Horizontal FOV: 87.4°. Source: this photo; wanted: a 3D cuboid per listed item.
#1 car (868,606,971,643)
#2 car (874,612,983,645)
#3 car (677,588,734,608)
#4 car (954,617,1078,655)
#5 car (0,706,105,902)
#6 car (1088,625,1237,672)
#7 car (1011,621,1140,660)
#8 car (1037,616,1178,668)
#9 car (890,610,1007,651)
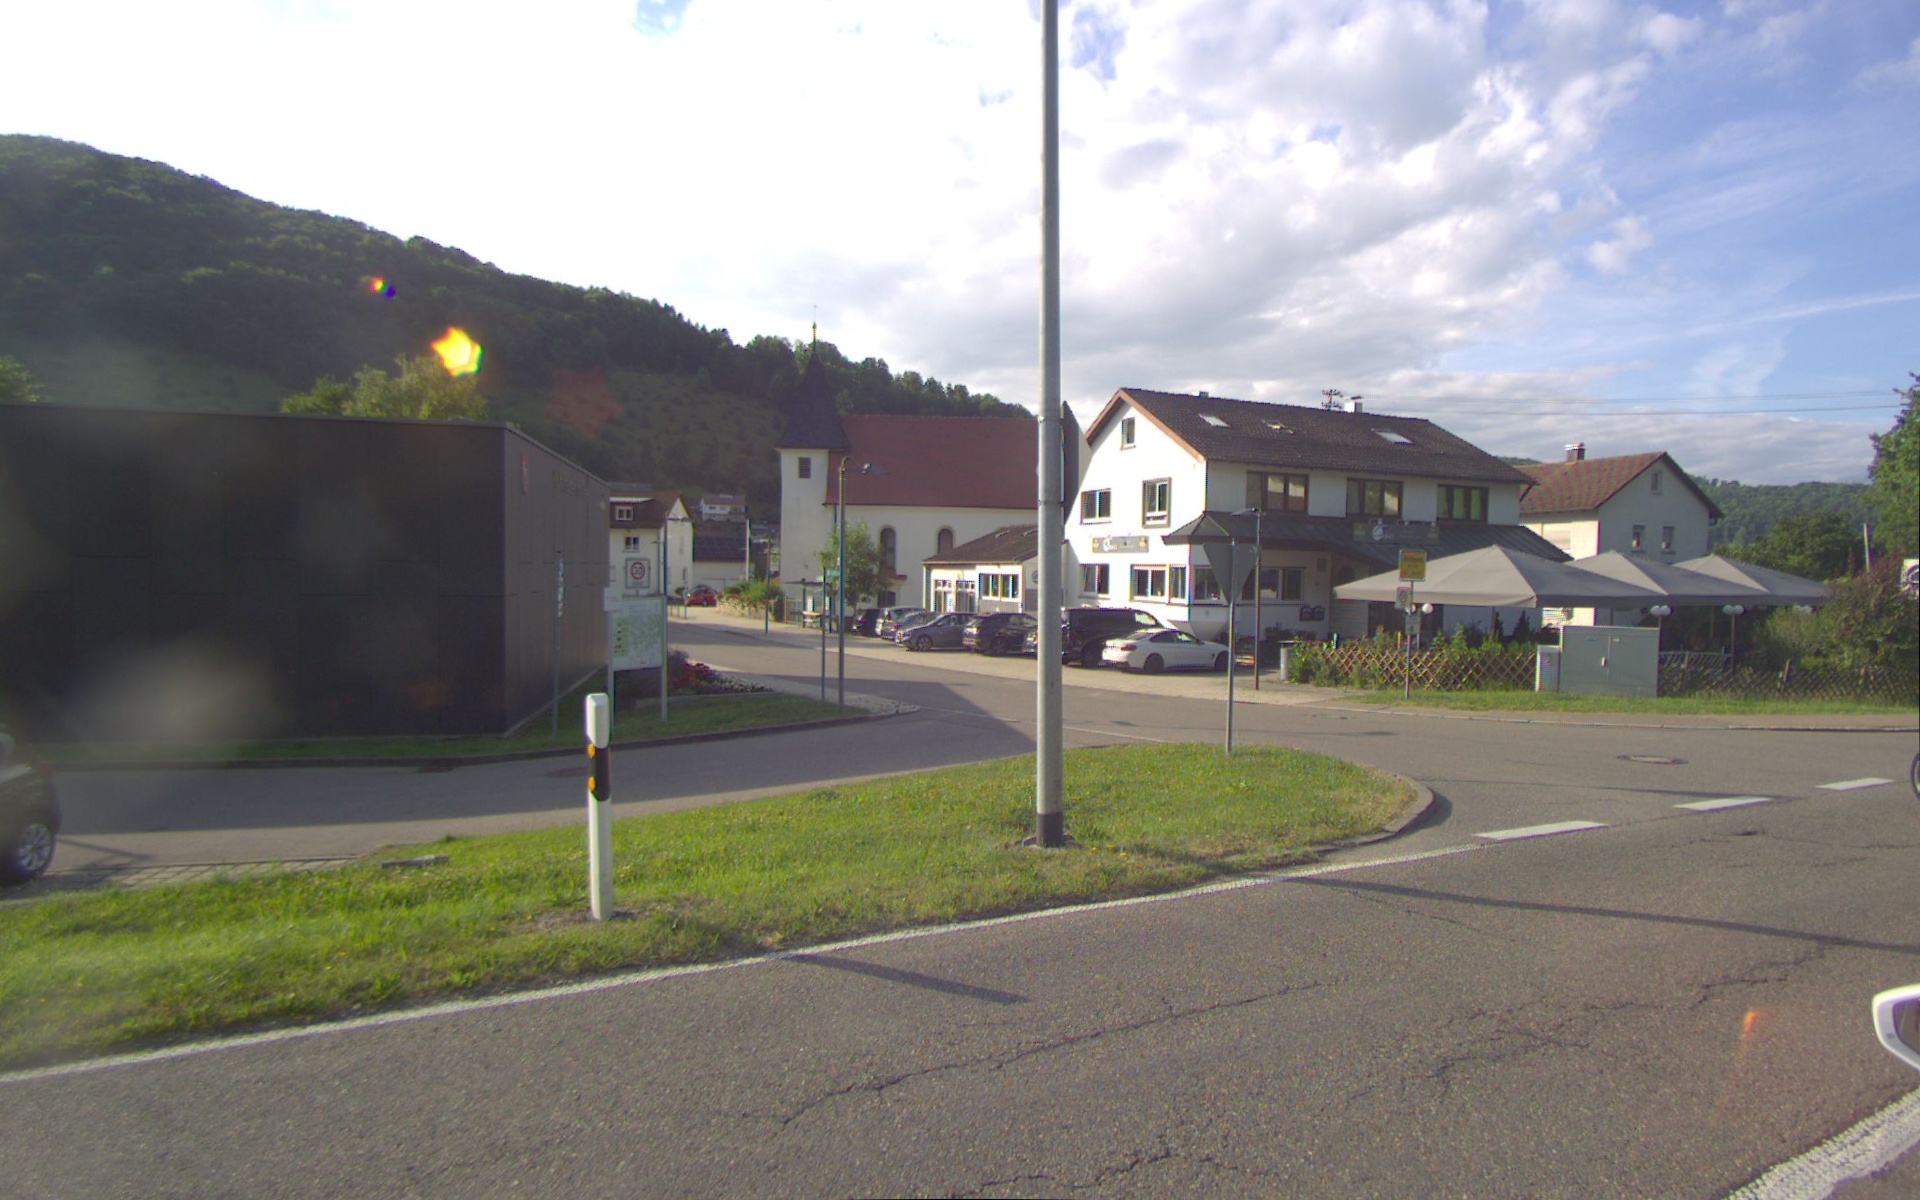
[{"bbox_3d":[-1.924,1.173,47.749,4.517,1.665,1.986,1,-1,-27],"label":"car"},{"bbox_3d":[-1.398,1.280,45.147,4.517,1.431,1.986,1,-1,-27],"label":"car"},{"bbox_3d":[-20.313,-0.171,80.145,3.956,1.528,1.983,1,0,-32],"label":"car"},{"bbox_3d":[2.224,1.427,39.817,4.517,1.431,1.986,1,-1,-27],"label":"car"},{"bbox_3d":[-8.897,1.757,7.696,1.801,1.555,3.992,1,-1,-11],"label":"car"},{"bbox_3d":[6.559,1.559,32.494,4.517,1.408,1.986,1,-1,-27],"label":"car"},{"bbox_3d":[4.381,1.530,37.901,4.517,1.408,1.986,1,-1,-27],"label":"car"},{"bbox_3d":[5.117,1.439,34.752,4.517,1.707,1.986,1,-1,-27],"label":"car"},{"bbox_3d":[-0.478,1.276,41.978,4.517,1.618,1.986,1,-1,-27],"label":"car"}]
